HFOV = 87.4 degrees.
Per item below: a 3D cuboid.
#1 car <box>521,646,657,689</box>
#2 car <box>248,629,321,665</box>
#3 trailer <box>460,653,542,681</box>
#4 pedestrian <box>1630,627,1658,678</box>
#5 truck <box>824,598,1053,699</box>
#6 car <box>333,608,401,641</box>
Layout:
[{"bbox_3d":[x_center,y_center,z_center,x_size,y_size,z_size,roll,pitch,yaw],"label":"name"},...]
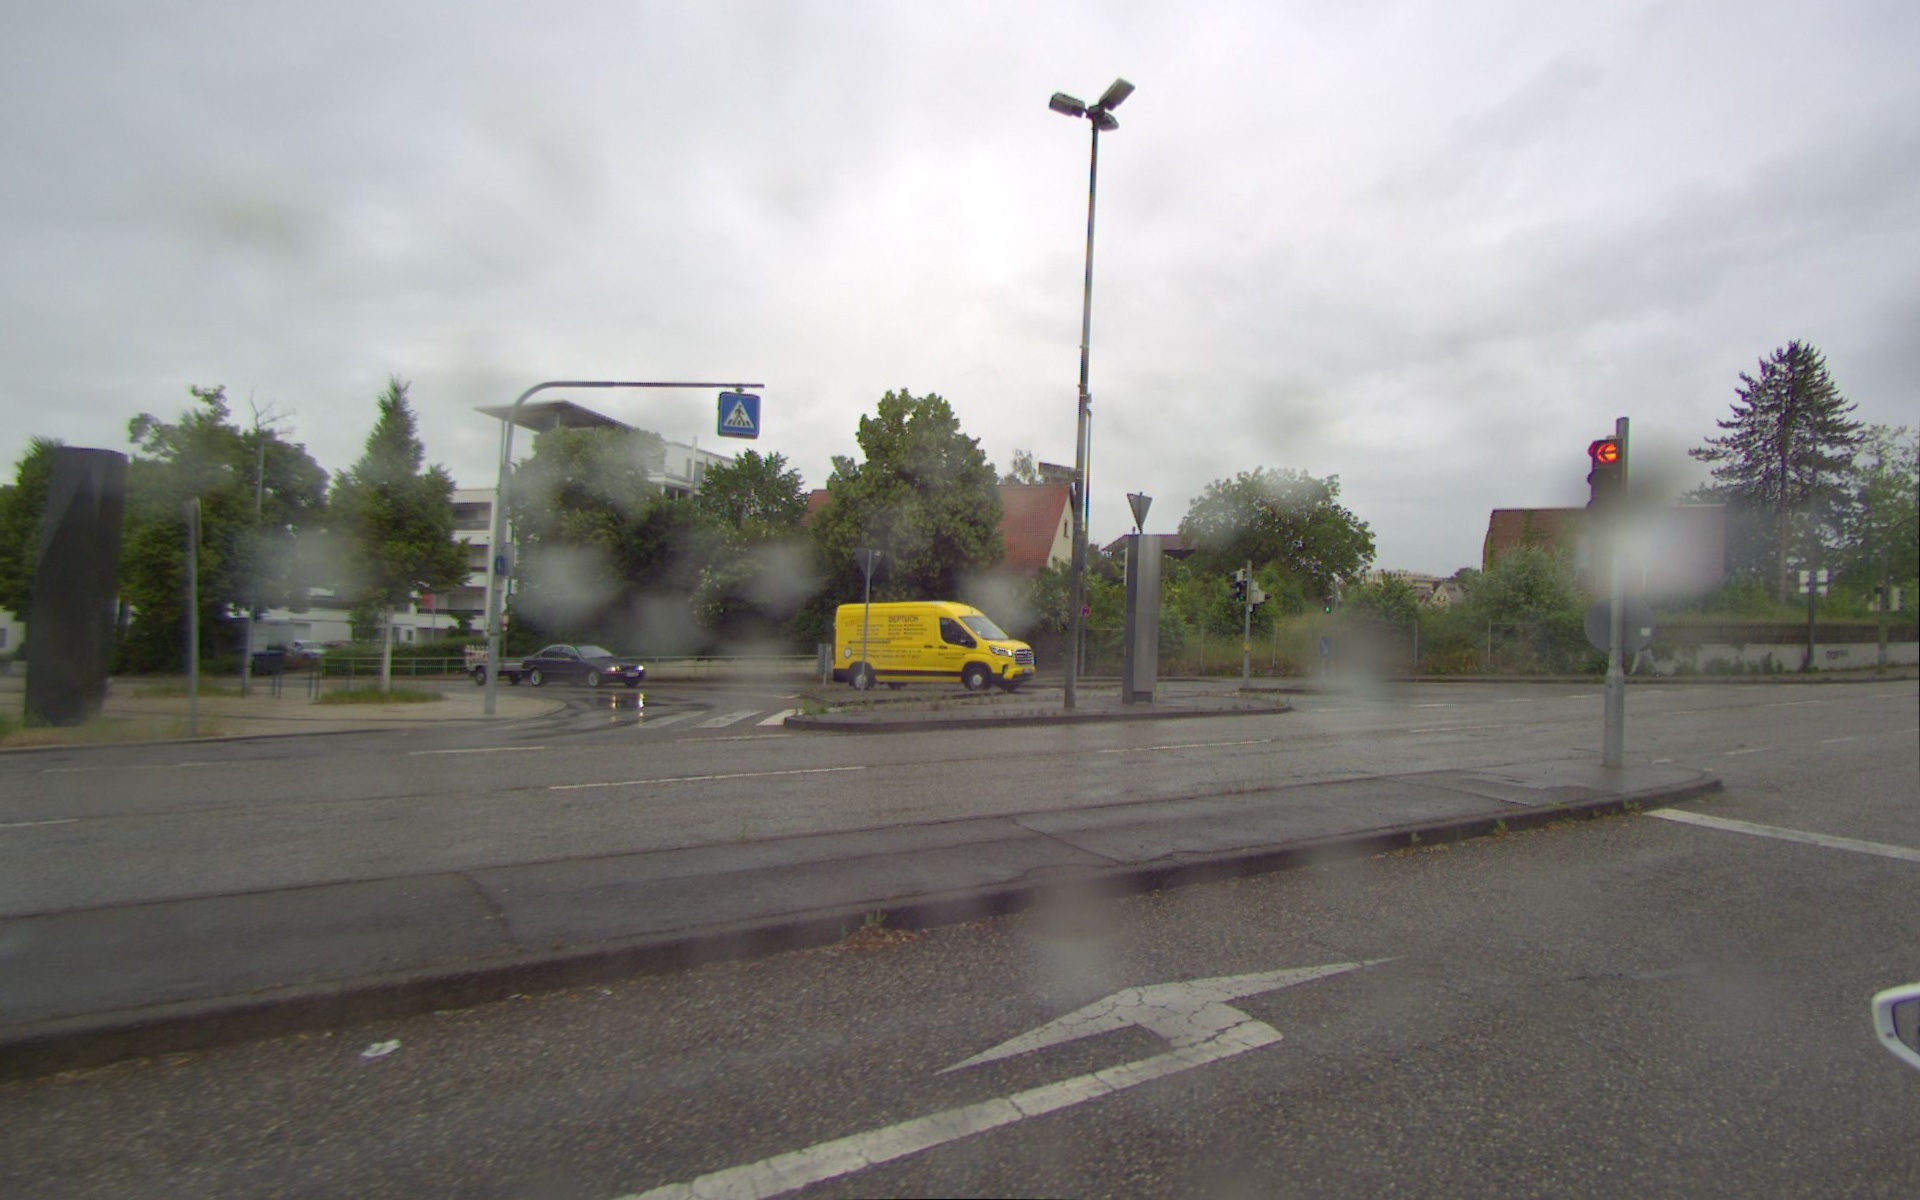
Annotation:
[{"bbox_3d":[-12.428,2.224,33.650,4.275,1.335,1.863,-1,-3,27],"label":"car"},{"bbox_3d":[-42.304,2.904,62.921,3.921,2.040,1.791,2,0,20],"label":"car"},{"bbox_3d":[-16.382,2.382,35.893,2.244,0.991,1.607,-1,-4,27],"label":"trailer"},{"bbox_3d":[22.735,1.751,33.394,0.490,1.663,0.553,0,-3,0],"label":"pedestrian"},{"bbox_3d":[-0.632,1.357,27.914,6.062,2.571,2.226,-2,-4,27],"label":"truck"},{"bbox_3d":[-39.592,1.621,67.103,3.921,2.040,1.791,2,0,20],"label":"car"}]
